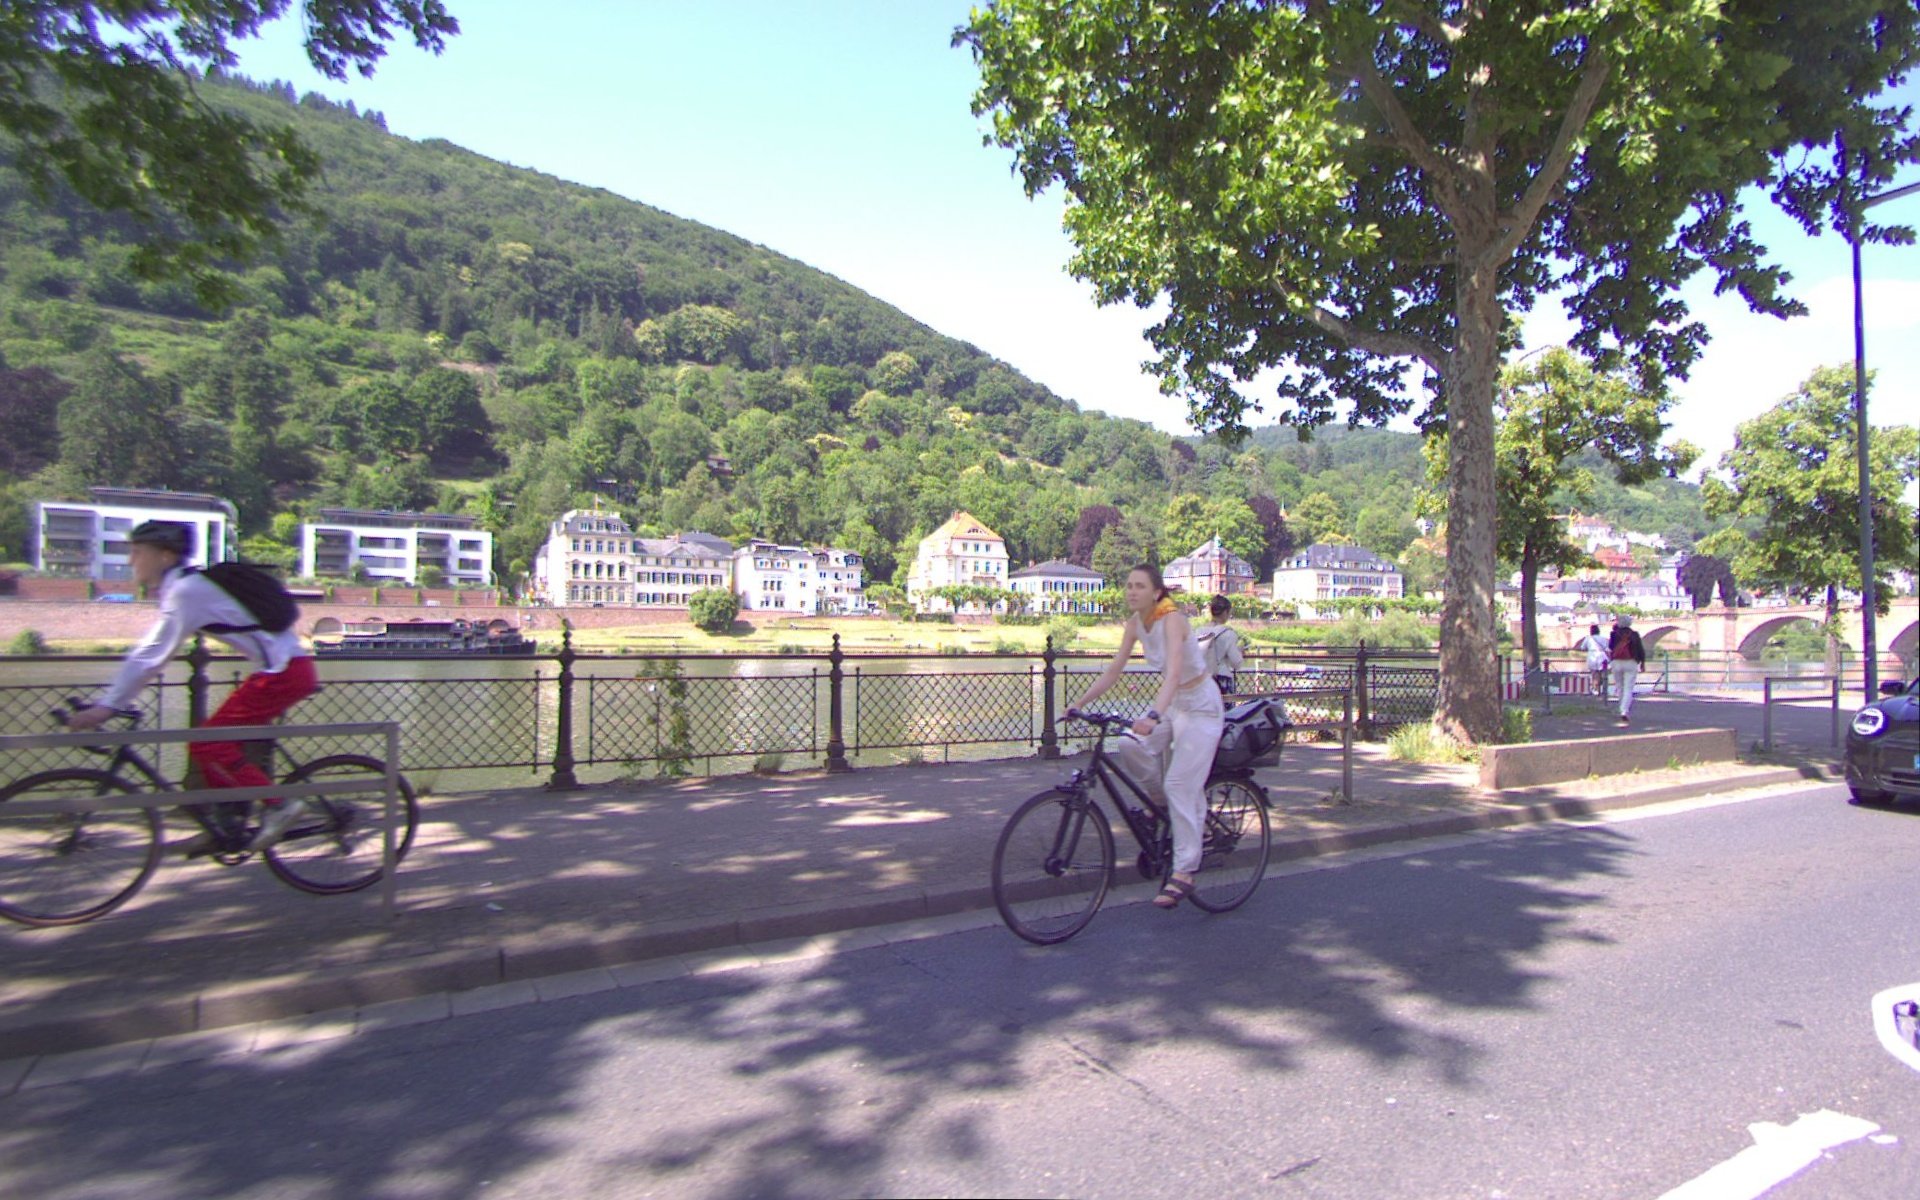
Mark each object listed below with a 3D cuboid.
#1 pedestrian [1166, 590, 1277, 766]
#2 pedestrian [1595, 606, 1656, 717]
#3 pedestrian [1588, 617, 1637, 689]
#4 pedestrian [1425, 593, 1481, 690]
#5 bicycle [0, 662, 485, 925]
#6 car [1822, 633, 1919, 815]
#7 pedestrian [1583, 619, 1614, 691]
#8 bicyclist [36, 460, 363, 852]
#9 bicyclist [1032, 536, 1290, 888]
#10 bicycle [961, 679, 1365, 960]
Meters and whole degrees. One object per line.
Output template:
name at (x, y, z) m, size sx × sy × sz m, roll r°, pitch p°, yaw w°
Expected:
pedestrian at (2.506, 0.724, 9.661) m, size 0.688 × 1.607 × 0.758 m, roll 2°, pitch -1°, yaw -31°
pedestrian at (10.740, 0.973, 16.203) m, size 0.649 × 1.705 × 0.754 m, roll 3°, pitch 1°, yaw 42°
pedestrian at (15.101, 1.213, 23.247) m, size 0.654 × 1.637 × 0.692 m, roll 2°, pitch -1°, yaw -23°
pedestrian at (10.311, 0.867, 21.003) m, size 0.877 × 1.970 × 0.690 m, roll 2°, pitch -1°, yaw -31°
bicycle at (-3.362, 0.823, 4.767) m, size 1.931 × 0.992 × 0.750 m, roll 1°, pitch -1°, yaw -32°
car at (9.631, 1.071, 9.035) m, size 3.956 × 1.477 × 1.693 m, roll 2°, pitch -2°, yaw -31°
pedestrian at (14.574, 1.248, 22.919) m, size 0.444 × 1.618 × 0.413 m, roll 2°, pitch -1°, yaw -23°
bicyclist at (-3.460, 0.249, 4.698) m, size 1.076 × 1.604 × 0.716 m, roll 2°, pitch -1°, yaw -30°
bicyclist at (0.984, 0.486, 4.990) m, size 1.012 × 1.552 × 0.763 m, roll -1°, pitch 1°, yaw -29°
bicycle at (1.032, 0.986, 5.001) m, size 1.928 × 1.091 × 0.738 m, roll 1°, pitch 0°, yaw -27°
